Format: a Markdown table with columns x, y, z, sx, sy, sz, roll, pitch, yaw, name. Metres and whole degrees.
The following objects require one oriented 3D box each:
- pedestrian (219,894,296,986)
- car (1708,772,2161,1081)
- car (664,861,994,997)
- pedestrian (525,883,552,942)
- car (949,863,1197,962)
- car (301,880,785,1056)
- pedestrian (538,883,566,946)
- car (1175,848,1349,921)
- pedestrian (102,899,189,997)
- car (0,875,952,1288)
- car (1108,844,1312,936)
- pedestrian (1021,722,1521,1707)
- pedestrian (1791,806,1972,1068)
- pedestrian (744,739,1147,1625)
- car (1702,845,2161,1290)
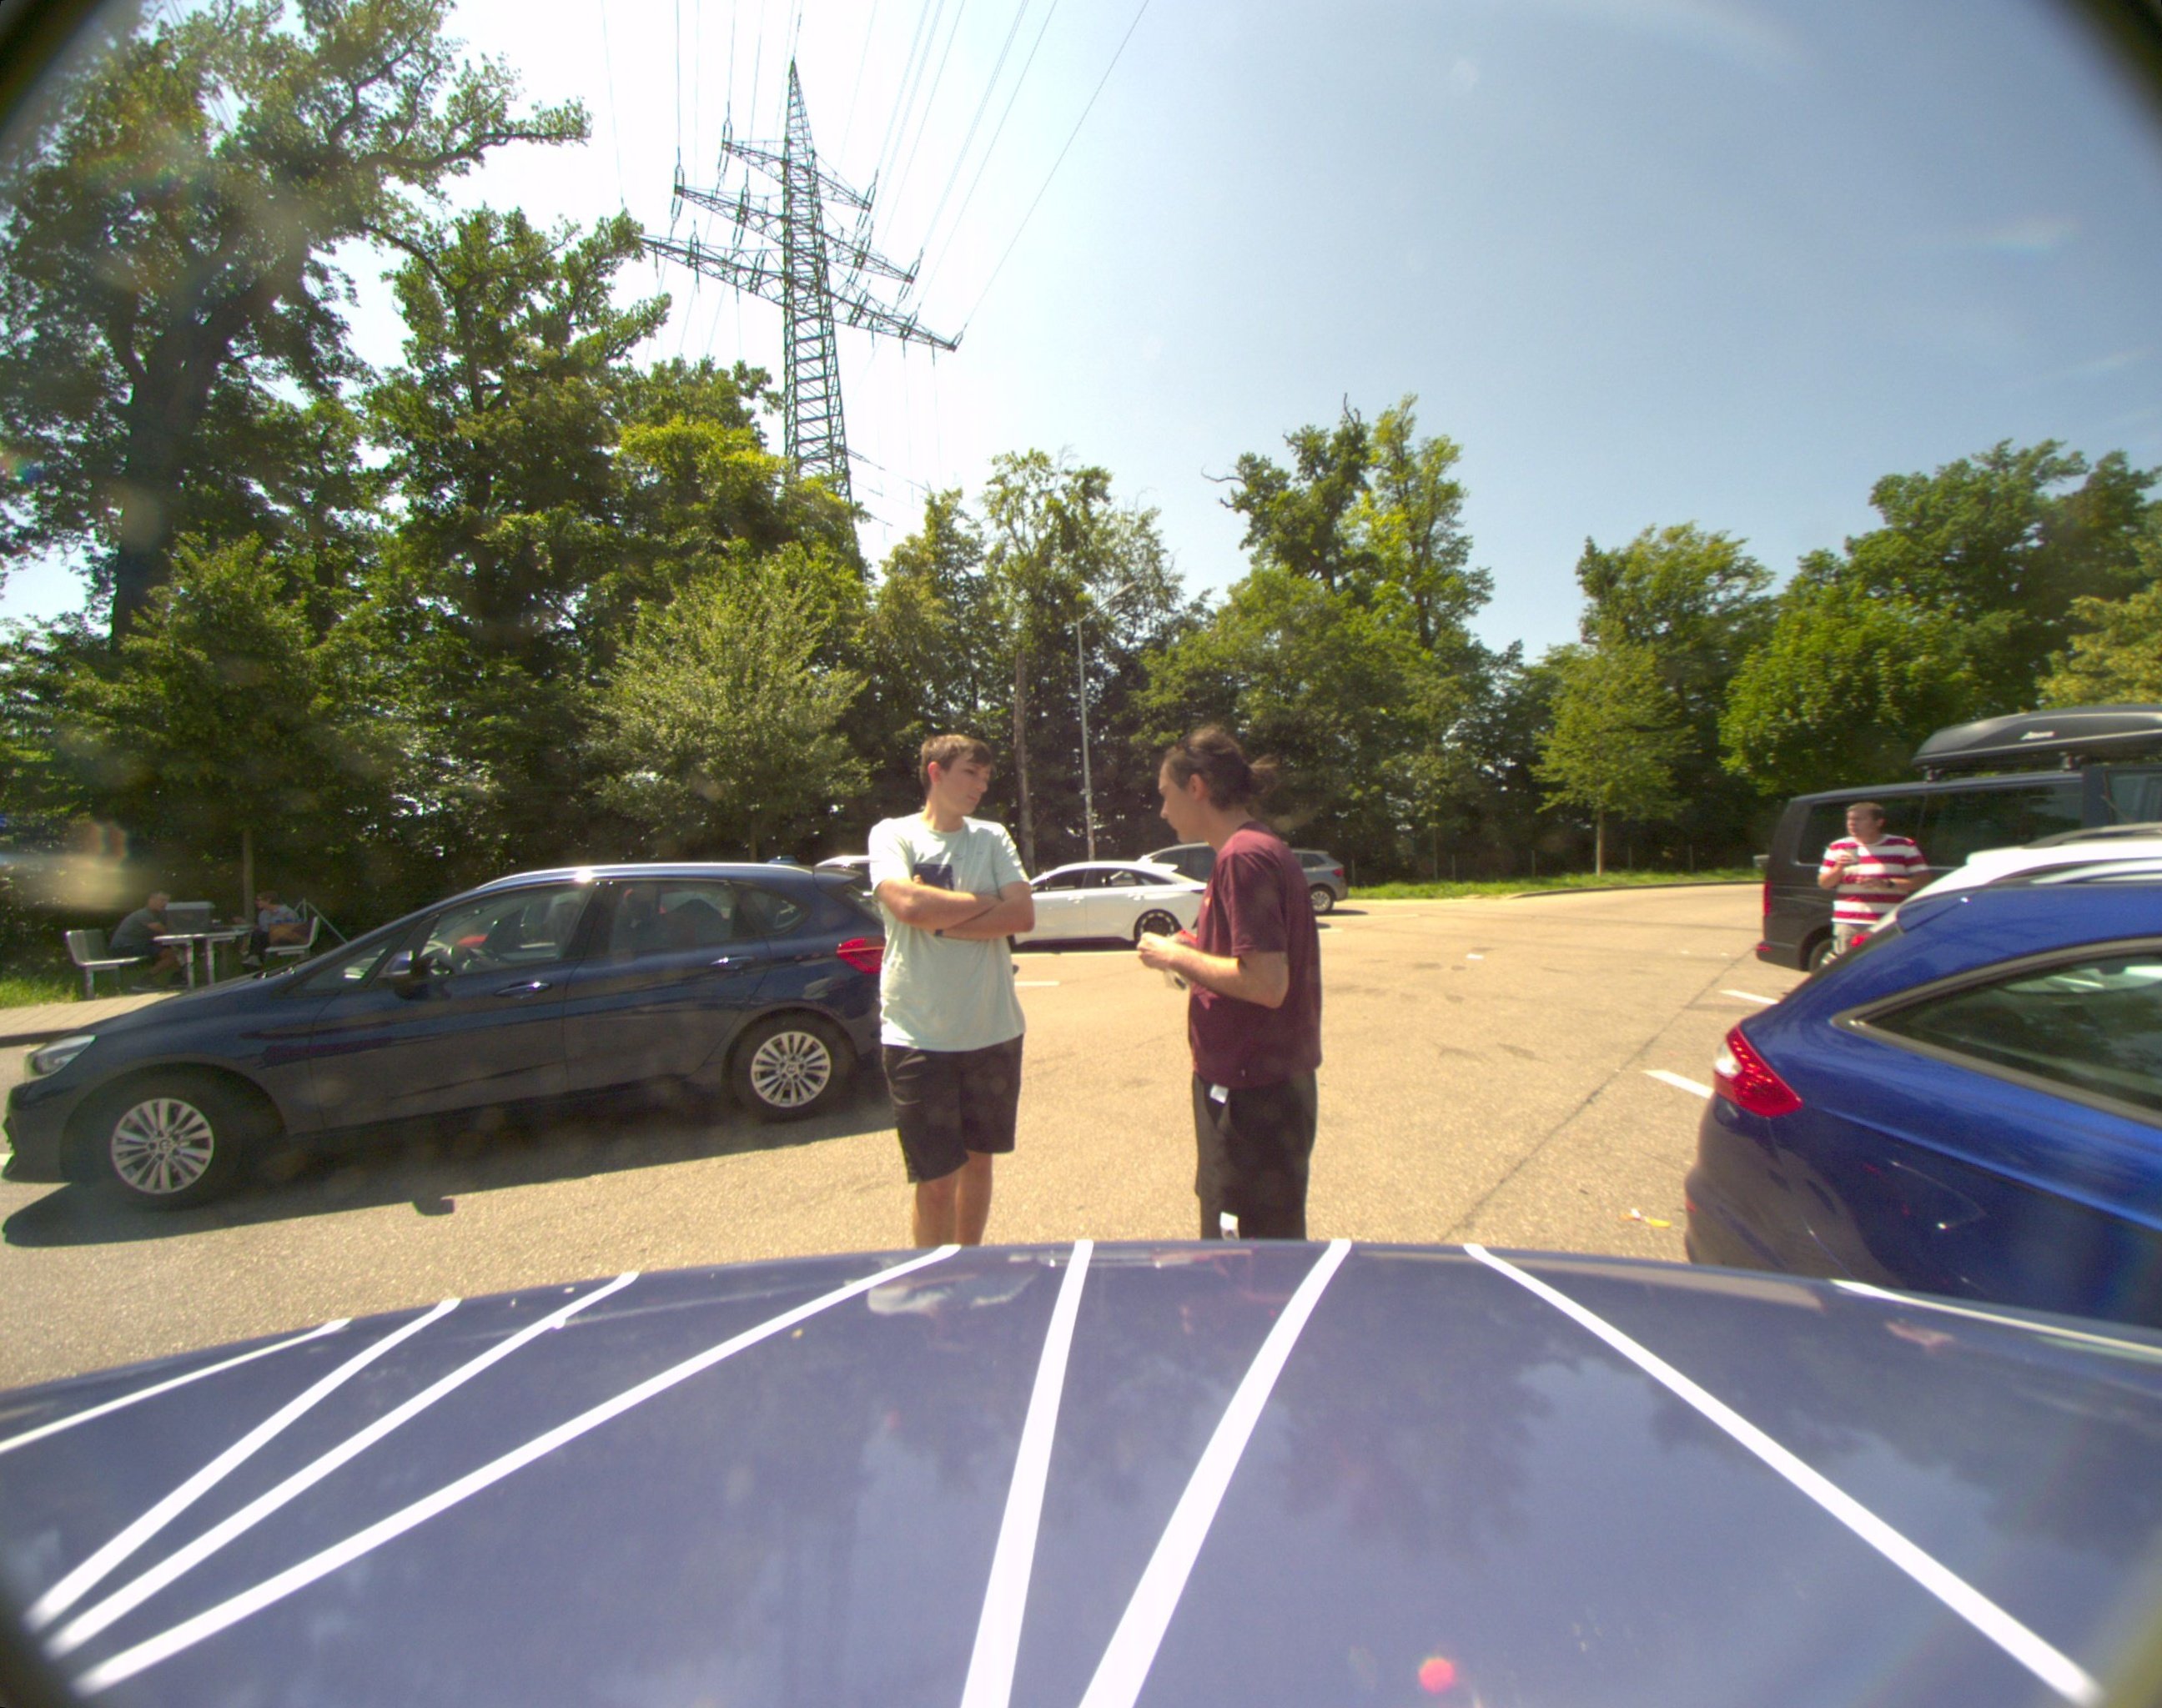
| x | y | z | sx | sy | sz | roll | pitch | yaw | name |
| --- | --- | --- | --- | --- | --- | --- | --- | --- | --- |
| -11.867 | 1.224 | 10.973 | 0.595 | 1.238 | 0.499 | -3 | 1 | -33 | pedestrian |
| 7.369 | 0.413 | 5.272 | 1.758 | 1.886 | 4.571 | -3 | -1 | -9 | car |
| -3.256 | 0.958 | 10.287 | 3.825 | 1.546 | 1.651 | -2 | 1 | 4 | car |
| -11.015 | 1.182 | 15.426 | 0.357 | 1.158 | 0.384 | -3 | 2 | -41 | pedestrian |
| -0.081 | 0.929 | 12.662 | 3.825 | 1.394 | 1.651 | -2 | 1 | 4 | car |
| -5.237 | 1.086 | 7.657 | 3.823 | 1.460 | 1.651 | -2 | 1 | 8 | car |
| -10.171 | 1.158 | 14.610 | 0.357 | 1.158 | 0.384 | -3 | 2 | -41 | pedestrian |
| 4.259 | 0.704 | 18.140 | 3.822 | 1.551 | 1.652 | -2 | 1 | 12 | car |
| -12.734 | 1.264 | 10.359 | 0.595 | 1.238 | 0.446 | -3 | 1 | -33 | pedestrian |
| -3.142 | 0.997 | 4.642 | 4.349 | 1.544 | 1.745 | -2 | 1 | -21 | car |
| 2.600 | 0.708 | 15.444 | 3.822 | 1.686 | 1.652 | -2 | 1 | 12 | car |
| 0.463 | 0.713 | 1.917 | 0.919 | 1.894 | 0.815 | -2 | 1 | 16 | pedestrian |
| 5.880 | 0.548 | 5.592 | 0.786 | 1.744 | 0.753 | -3 | 1 | -31 | pedestrian |
| -0.442 | 0.712 | 2.251 | 0.815 | 1.939 | 0.918 | -3 | 1 | -32 | pedestrian |
| 4.641 | 0.727 | 2.241 | 1.757 | 1.496 | 4.574 | -3 | -1 | -1 | car |
